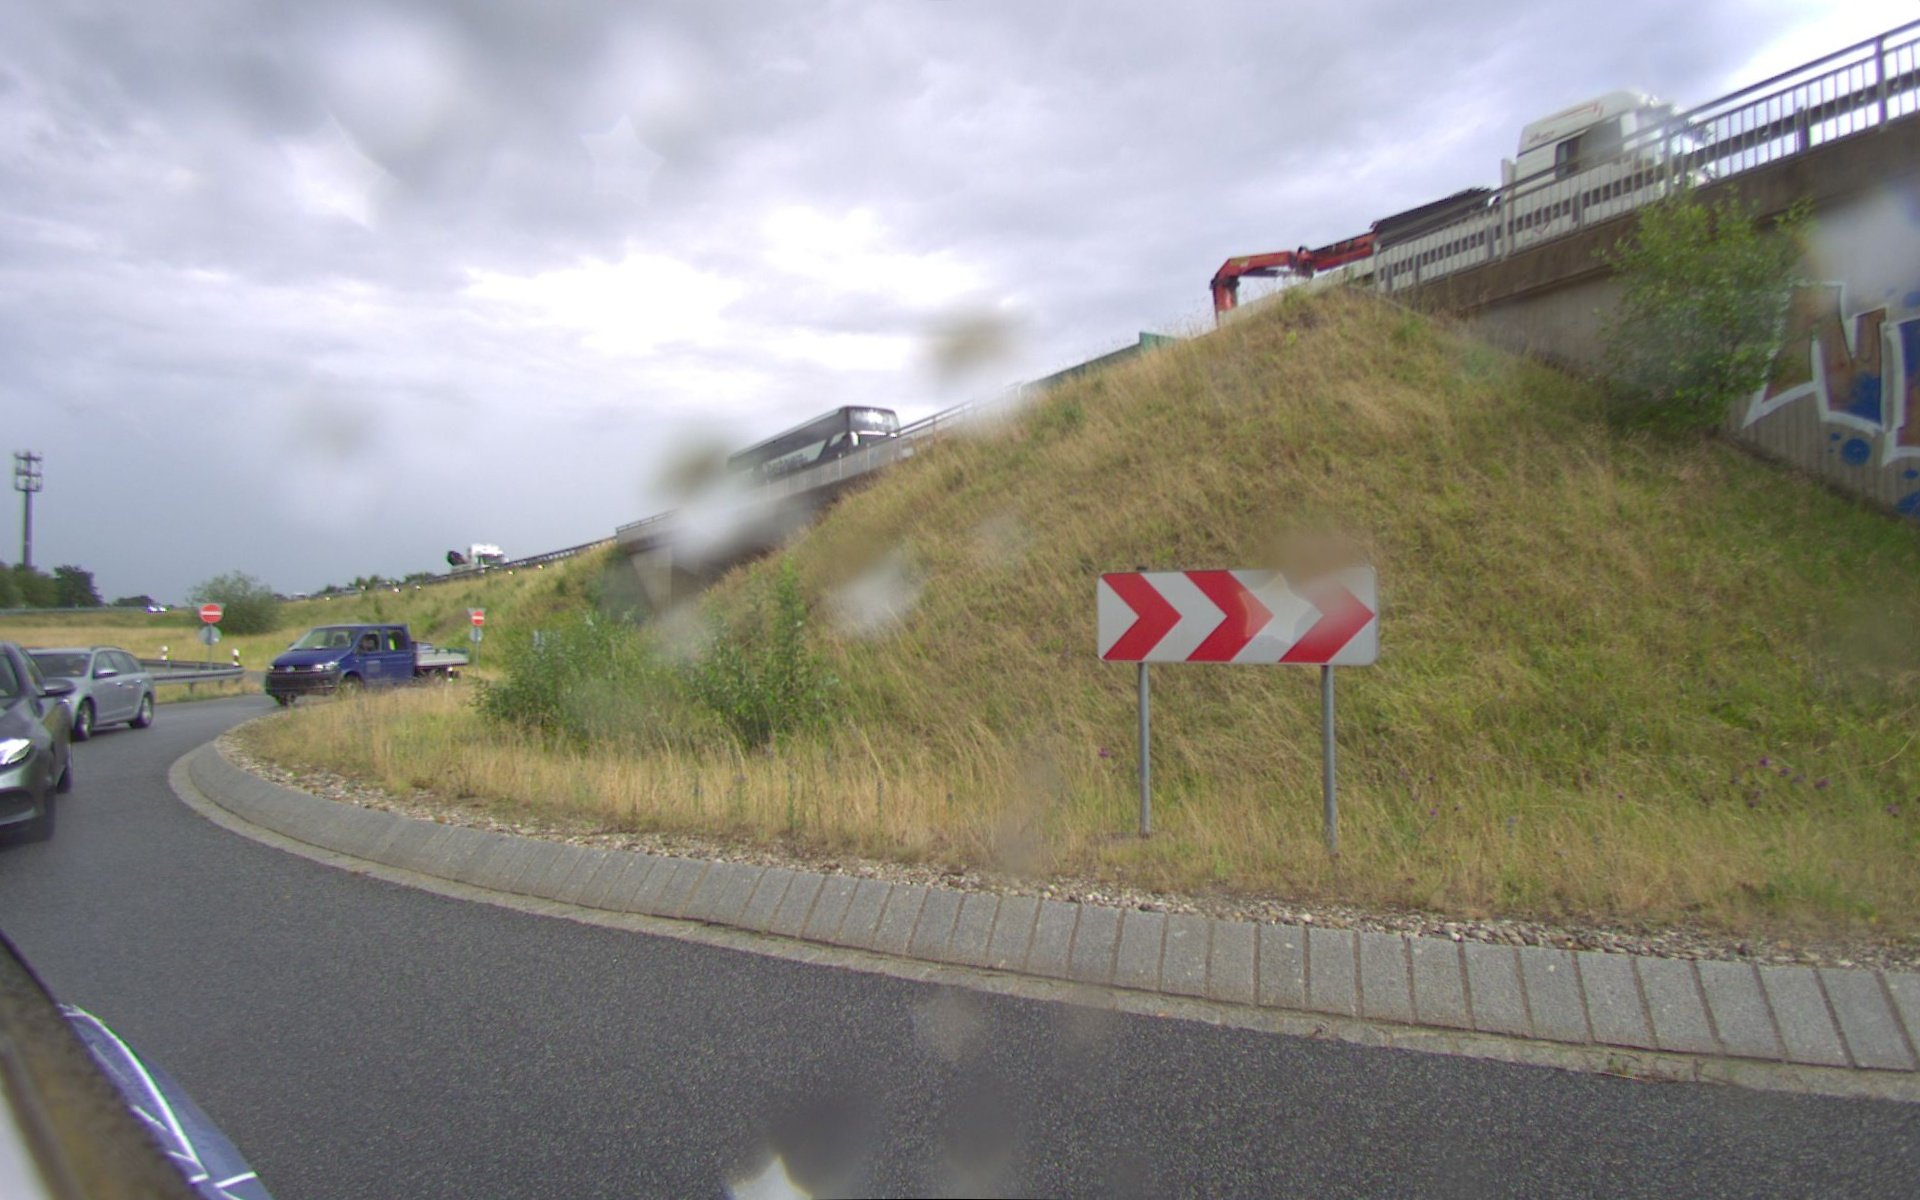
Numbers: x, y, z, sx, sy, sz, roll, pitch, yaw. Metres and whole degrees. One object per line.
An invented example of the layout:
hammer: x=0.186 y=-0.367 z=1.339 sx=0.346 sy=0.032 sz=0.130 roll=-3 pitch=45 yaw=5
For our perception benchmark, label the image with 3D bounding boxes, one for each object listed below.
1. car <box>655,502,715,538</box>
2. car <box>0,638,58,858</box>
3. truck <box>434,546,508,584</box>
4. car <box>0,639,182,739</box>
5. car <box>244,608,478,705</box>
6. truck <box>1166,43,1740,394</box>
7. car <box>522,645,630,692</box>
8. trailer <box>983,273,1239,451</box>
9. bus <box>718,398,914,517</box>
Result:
car: x=-16.370 y=-4.715 z=60.121 sx=1.688 sy=1.536 sz=4.503 roll=-12 pitch=6 yaw=-36
car: x=-8.180 y=1.067 z=7.693 sx=1.745 sy=1.402 sz=4.593 roll=1 pitch=-4 yaw=-45
truck: x=-47.683 y=-3.337 z=98.564 sx=9.275 sy=3.218 sz=3.118 roll=-2 pitch=-1 yaw=41
car: x=-14.333 y=1.404 z=16.334 sx=1.767 sy=1.409 sz=4.363 roll=2 pitch=-5 yaw=-24
car: x=-15.147 y=1.325 z=26.108 sx=1.873 sy=1.929 sz=5.664 roll=-3 pitch=1 yaw=11
truck: x=8.712 y=-6.738 z=20.283 sx=2.169 sy=2.895 sz=10.857 roll=-1 pitch=-1 yaw=-31
car: x=-13.380 y=2.367 z=35.516 sx=1.558 sy=1.548 sz=3.909 roll=-1 pitch=-3 yaw=15
trailer: x=3.852 y=-6.304 z=28.383 sx=2.150 sy=2.893 sz=8.355 roll=-1 pitch=-1 yaw=-32
bus: x=-6.945 y=-5.993 z=45.261 sx=2.569 sy=3.103 sz=14.502 roll=-1 pitch=-1 yaw=-34
